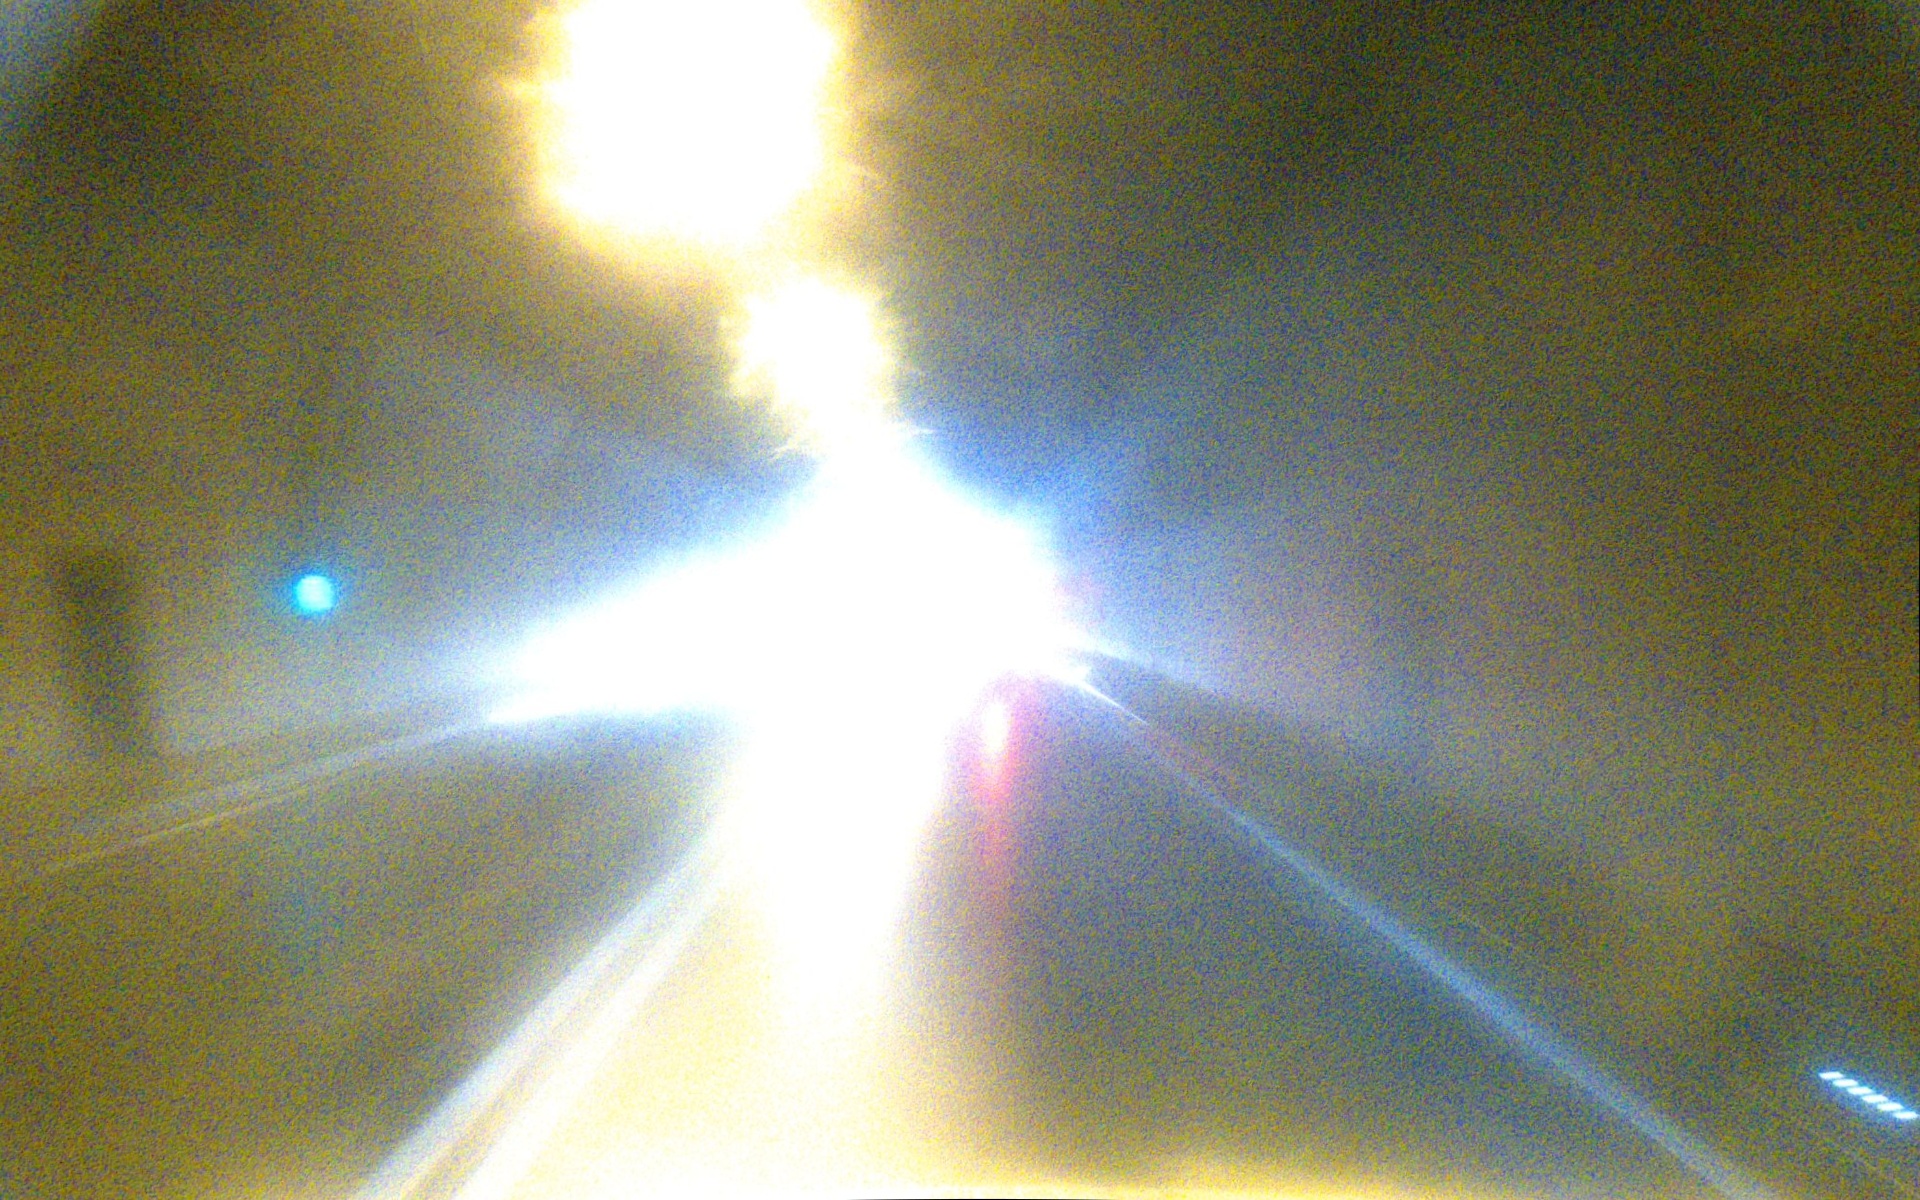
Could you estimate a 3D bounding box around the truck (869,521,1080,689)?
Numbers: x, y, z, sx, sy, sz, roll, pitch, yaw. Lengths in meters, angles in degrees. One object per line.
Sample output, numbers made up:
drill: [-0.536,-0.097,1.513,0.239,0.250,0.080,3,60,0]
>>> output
truck: [0.187,0.085,31.638,3.463,2.740,8.954,0,0,-1]

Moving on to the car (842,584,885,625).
car: [-4.026,0.172,69.229,1.566,1.641,3.995,0,0,-1]
